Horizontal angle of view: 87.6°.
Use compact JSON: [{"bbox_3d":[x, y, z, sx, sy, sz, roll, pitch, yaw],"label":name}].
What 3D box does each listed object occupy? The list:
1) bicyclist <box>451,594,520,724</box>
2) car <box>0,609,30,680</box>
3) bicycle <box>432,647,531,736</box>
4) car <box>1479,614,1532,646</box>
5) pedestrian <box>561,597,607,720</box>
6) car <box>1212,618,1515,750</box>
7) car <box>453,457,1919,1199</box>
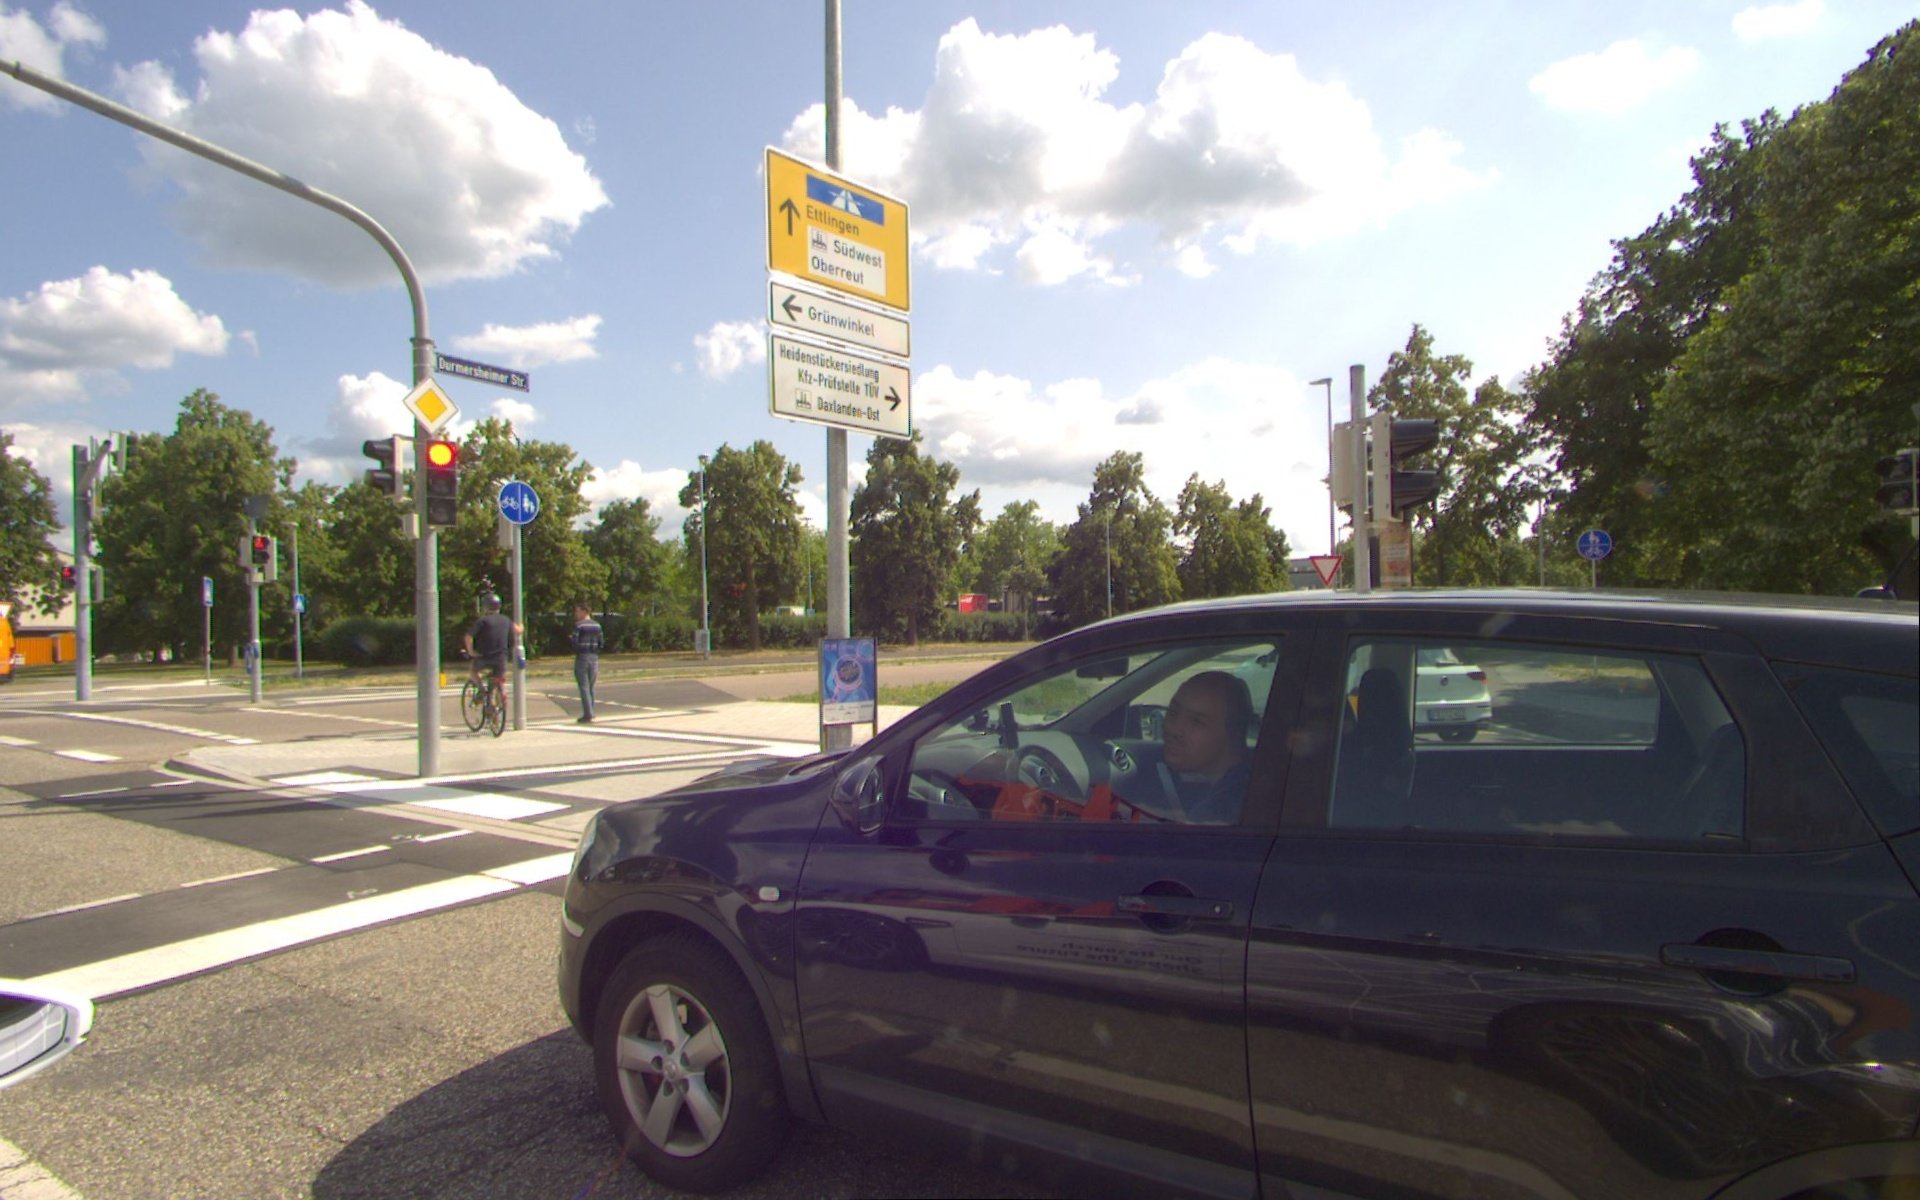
[{"bbox_3d":[-6.376,0.791,13.456,0.644,1.682,0.644,2,-4,-44],"label":"bicyclist"},{"bbox_3d":[-32.953,1.412,31.732,4.765,2.253,2.214,0,-3,-2],"label":"car"},{"bbox_3d":[-6.510,1.216,13.579,0.644,1.121,1.910,3,-4,-43],"label":"bicycle"},{"bbox_3d":[23.135,1.311,42.576,1.886,1.192,3.767,-2,-4,27],"label":"car"},{"bbox_3d":[-5.654,0.880,15.070,0.477,1.800,0.462,-2,-3,42],"label":"pedestrian"},{"bbox_3d":[5.242,1.015,13.650,1.707,1.505,4.087,0,-1,-16],"label":"car"},{"bbox_3d":[0.651,0.680,2.743,3.941,1.571,1.798,-2,-4,31],"label":"car"}]
